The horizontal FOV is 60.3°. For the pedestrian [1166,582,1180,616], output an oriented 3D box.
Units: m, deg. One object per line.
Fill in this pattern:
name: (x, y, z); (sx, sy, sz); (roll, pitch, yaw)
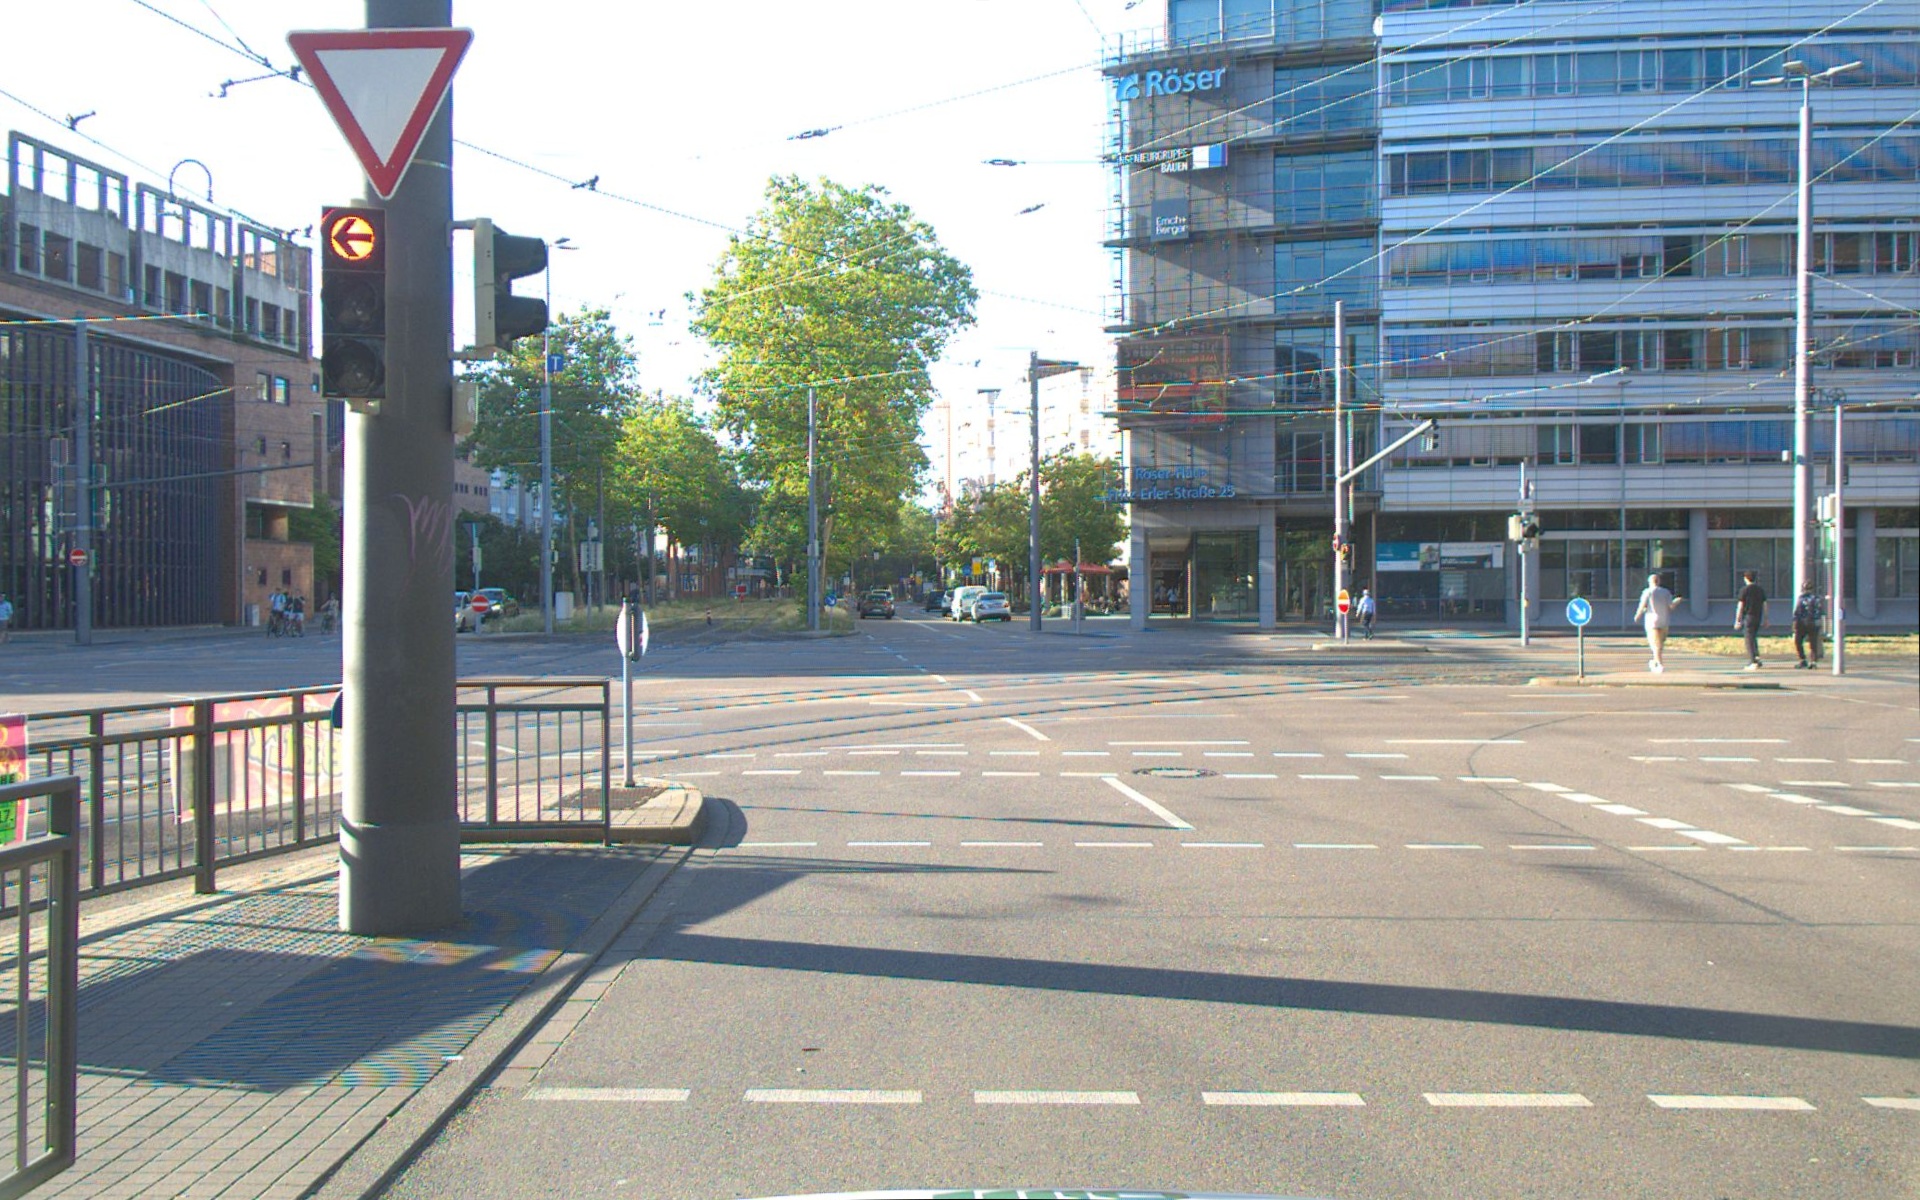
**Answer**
pedestrian: (9.768, -0.053, 75.862); (0.599, 1.534, 0.579); (-1, 0, 7)

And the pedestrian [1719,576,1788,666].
pedestrian: (15.385, 0.401, 32.094); (0.893, 1.714, 1.036); (-1, 0, 6)

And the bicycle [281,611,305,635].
bicycle: (-27.501, 0.943, 68.212); (0.458, 0.980, 1.320); (-1, 0, -1)

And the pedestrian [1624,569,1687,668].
pedestrian: (12.961, 0.336, 30.835); (0.845, 1.820, 0.872); (-1, 0, 6)

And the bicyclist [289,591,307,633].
bicyclist: (-26.142, 0.468, 65.316); (0.449, 1.631, 0.581); (-1, 0, -1)

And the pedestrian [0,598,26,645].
pedestrian: (-33.547, 0.766, 58.511); (0.598, 1.653, 0.618); (-1, 0, 4)

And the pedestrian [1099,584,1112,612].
pedestrian: (9.258, -0.125, 105.072); (0.729, 1.744, 0.612); (-1, 0, -1)

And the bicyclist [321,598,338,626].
bicyclist: (-27.085, 0.499, 71.058); (0.495, 1.199, 0.581); (-1, 0, -1)

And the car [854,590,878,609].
car: (-7.236, -0.030, 127.374); (1.762, 1.467, 3.998); (1, 0, -3)

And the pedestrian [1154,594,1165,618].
pedestrian: (14.786, 0.438, 122.836); (0.729, 1.744, 0.612); (-1, 0, -1)

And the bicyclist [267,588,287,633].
bicyclist: (-26.841, 0.424, 65.041); (0.525, 1.761, 0.581); (-1, 0, -1)

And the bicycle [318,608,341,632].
bicycle: (-27.090, 0.863, 71.067); (0.442, 0.980, 1.347); (-1, 0, -1)

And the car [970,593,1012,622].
car: (1.536, 0.341, 82.780); (1.953, 1.400, 3.999); (-1, 0, -1)

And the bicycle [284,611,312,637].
bicycle: (-26.141, 0.932, 65.312); (0.463, 0.980, 1.575); (-1, 0, -1)

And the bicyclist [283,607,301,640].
bicyclist: (-27.519, 0.963, 68.138); (0.495, 1.327, 0.581); (-1, 0, -1)

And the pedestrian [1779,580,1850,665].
pedestrian: (16.434, 0.424, 31.836); (0.928, 1.591, 0.897); (-1, 0, 6)

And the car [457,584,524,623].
car: (-21.121, 0.148, 74.585); (1.953, 1.668, 3.999); (-1, 0, -2)

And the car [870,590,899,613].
car: (-4.906, 0.091, 107.643); (1.761, 1.467, 3.999); (-1, 0, -1)

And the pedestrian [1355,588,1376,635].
pedestrian: (13.412, 0.383, 54.687); (0.599, 1.534, 0.579); (-1, 0, 7)

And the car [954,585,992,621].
car: (0.687, 0.132, 89.566); (1.953, 1.892, 3.999); (-1, 0, -1)

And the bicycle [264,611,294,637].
bicycle: (-26.828, 0.934, 65.144); (0.531, 0.980, 1.586); (-1, 0, -1)

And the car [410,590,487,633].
car: (-20.667, 0.448, 67.027); (1.953, 1.668, 3.999); (-1, 0, -2)

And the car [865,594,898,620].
car: (-4.506, 0.393, 95.336); (1.761, 1.467, 3.999); (-1, 0, -1)

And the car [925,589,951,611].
car: (-1.679, -0.040, 126.628); (1.953, 1.646, 3.999); (-1, 0, -1)

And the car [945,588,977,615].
car: (0.034, 0.075, 105.203); (1.953, 1.646, 3.999); (-1, 0, -1)
